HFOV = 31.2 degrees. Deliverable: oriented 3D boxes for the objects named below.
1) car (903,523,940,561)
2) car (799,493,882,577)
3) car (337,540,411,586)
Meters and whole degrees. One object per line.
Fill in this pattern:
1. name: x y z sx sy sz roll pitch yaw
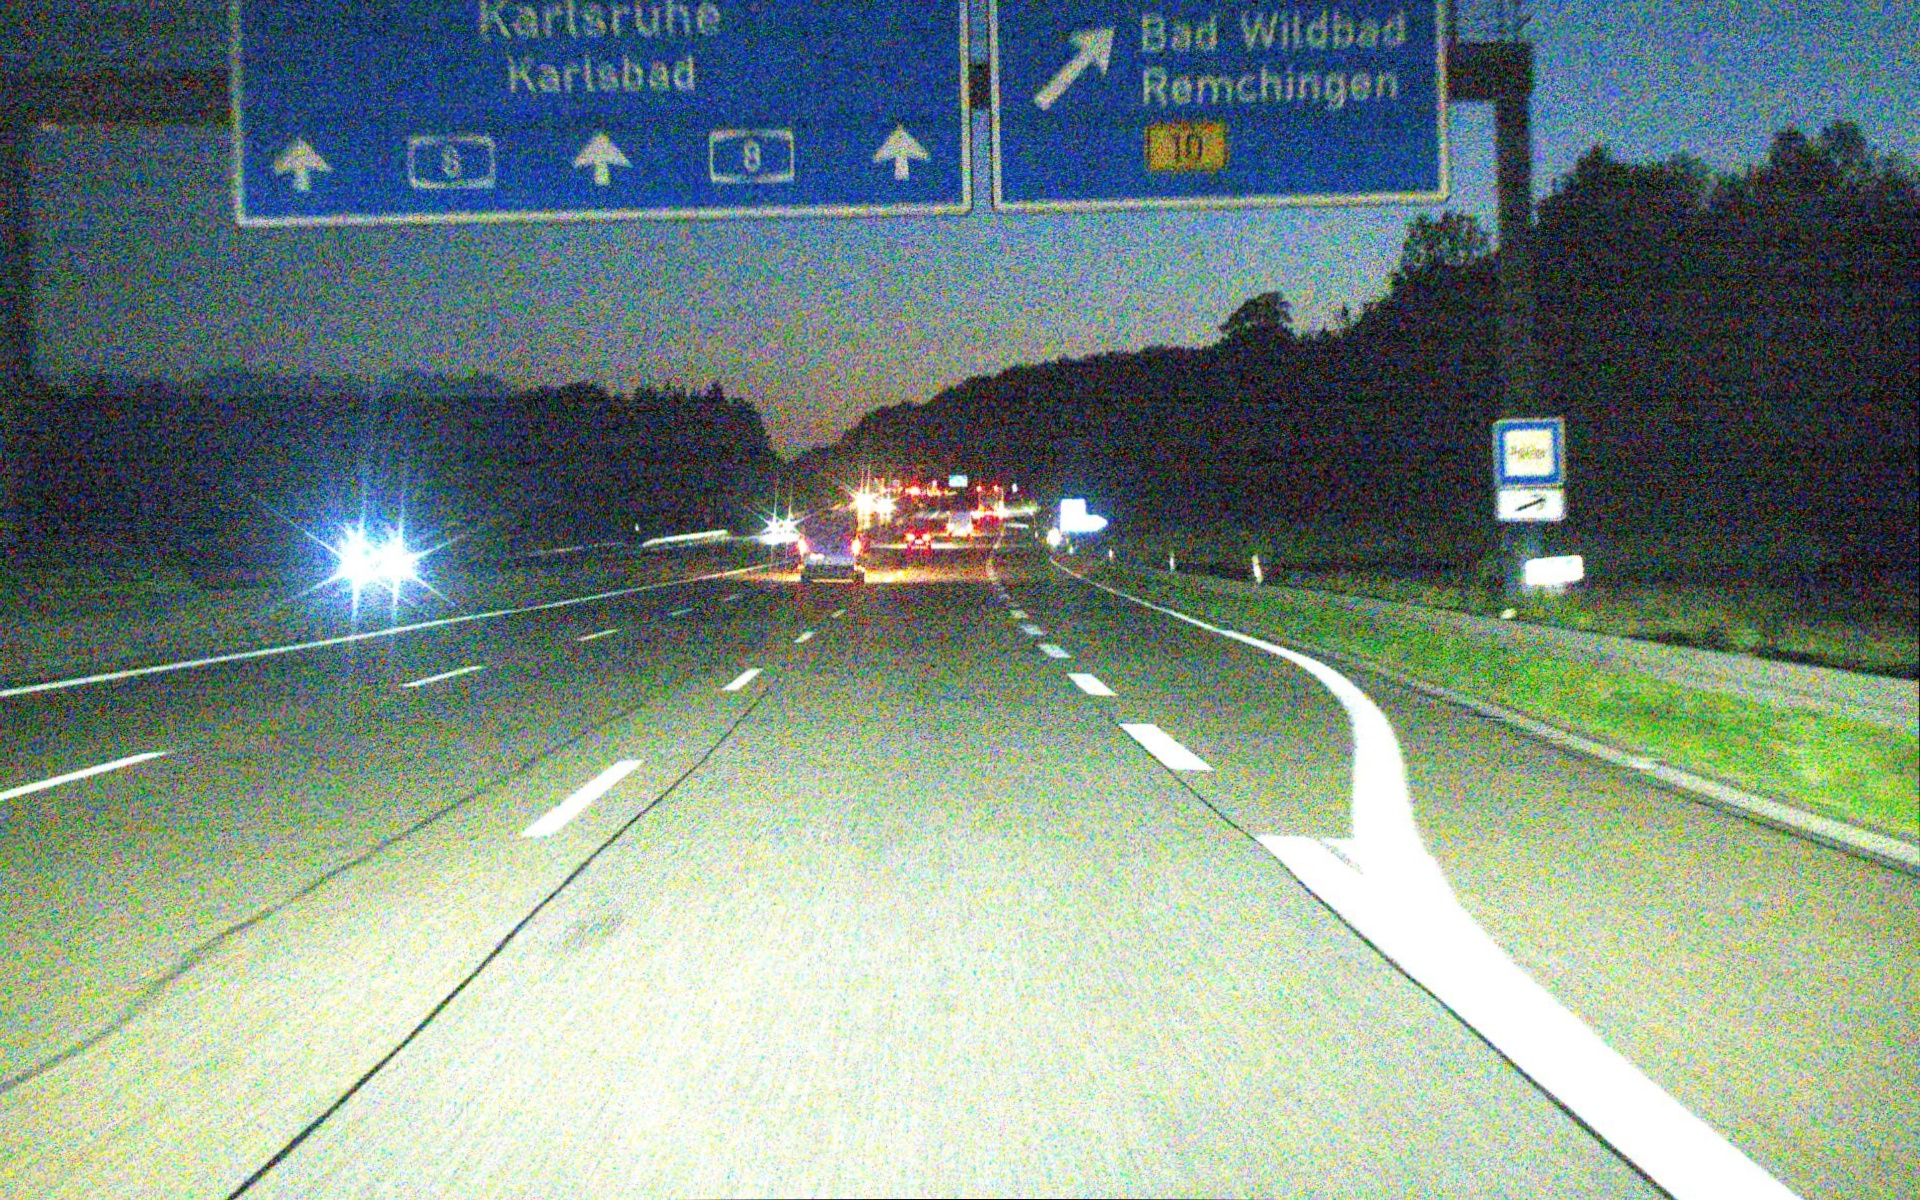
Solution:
1. car: -2.884 -4.340 258.883 2.786 2.724 6.299 0 0 -1
2. car: -4.120 -2.188 117.615 2.786 2.724 6.299 0 0 -3
3. car: -22.757 -1.443 133.725 1.993 1.739 5.072 1 1 0
